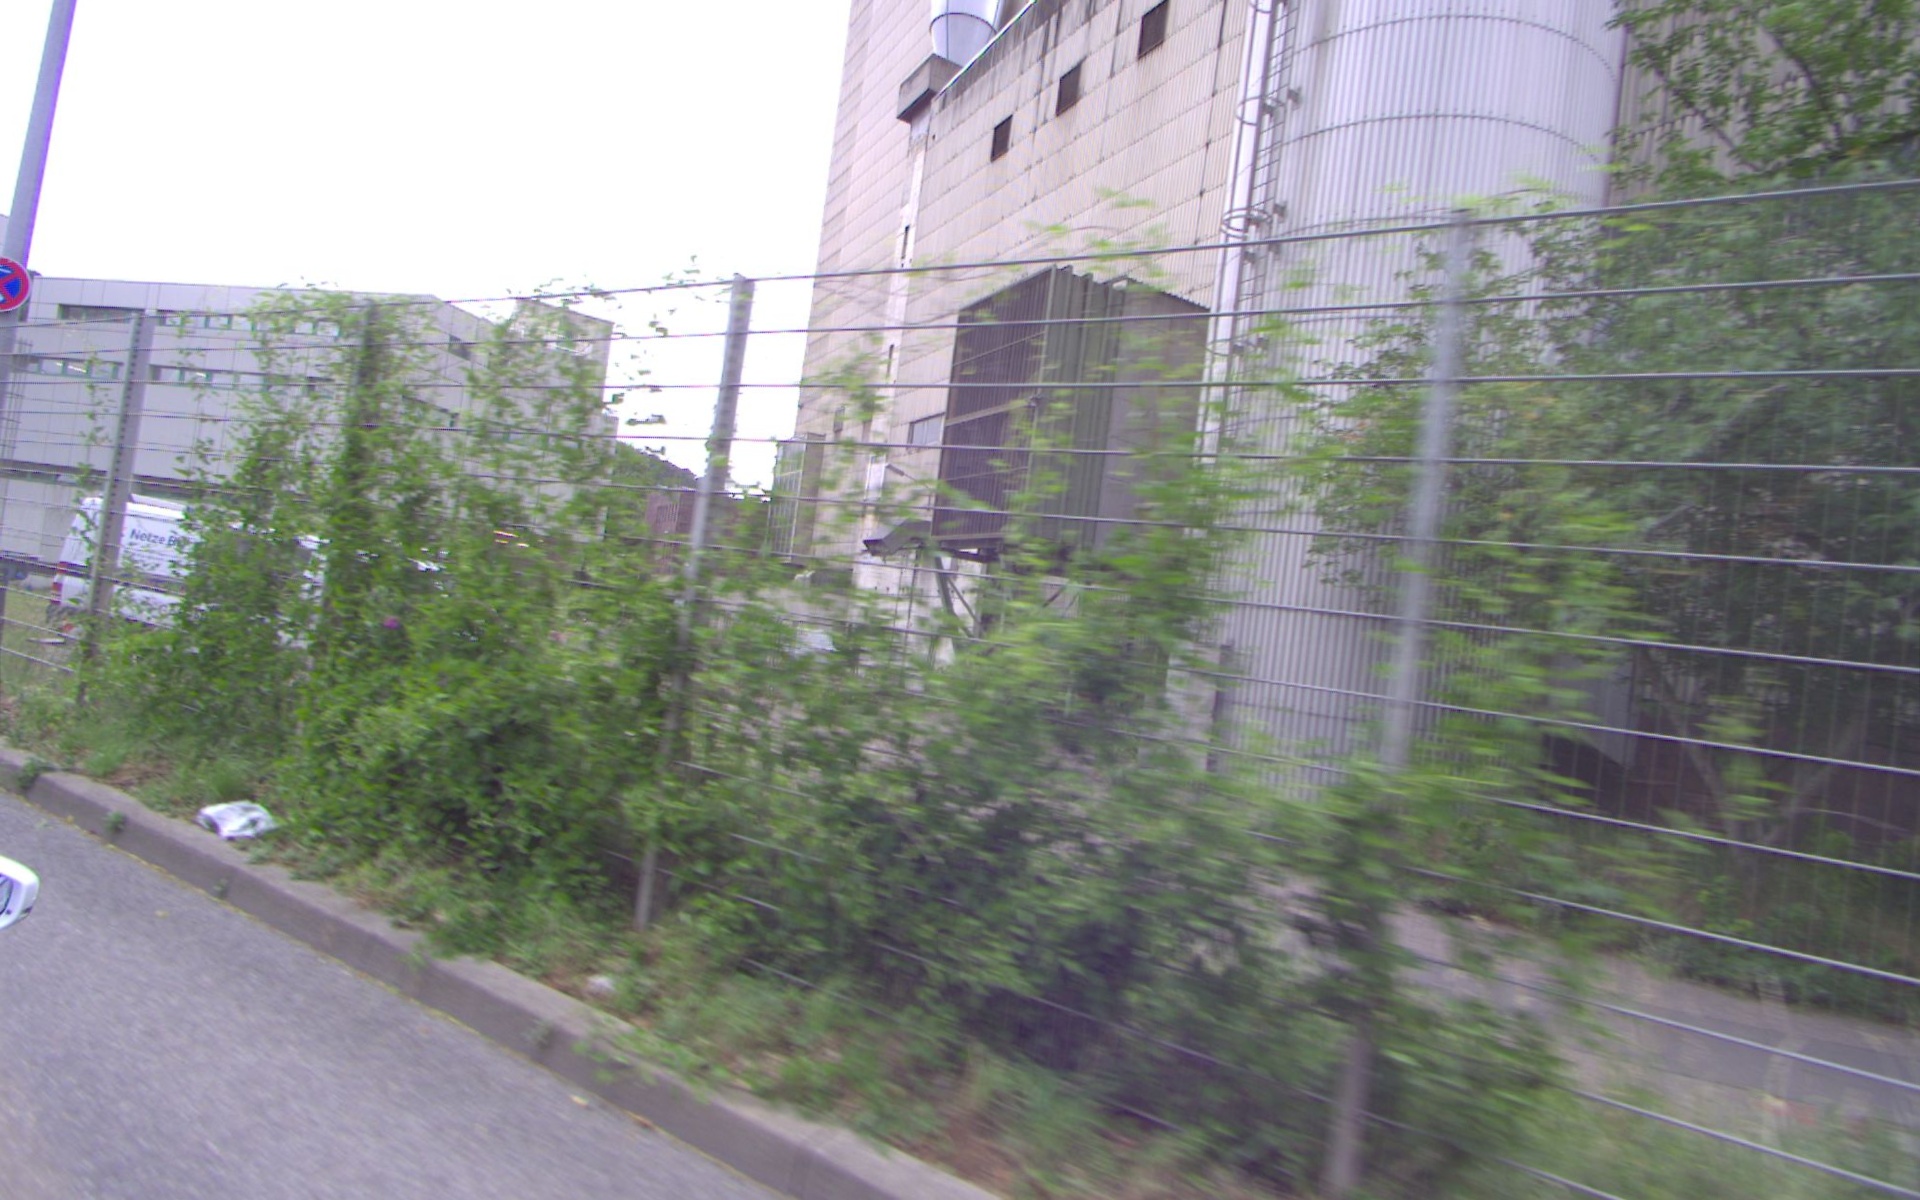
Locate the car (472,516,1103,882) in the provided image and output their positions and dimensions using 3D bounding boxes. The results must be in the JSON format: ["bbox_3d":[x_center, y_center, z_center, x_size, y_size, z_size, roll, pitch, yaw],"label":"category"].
[{"bbox_3d":[-1.546,0.565,8.041,4.771,2.036,1.996,5,-3,35],"label":"car"}]

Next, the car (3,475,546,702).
[{"bbox_3d":[-9.495,-0.090,14.405,6.058,2.288,2.001,7,-2,-3],"label":"car"}]
